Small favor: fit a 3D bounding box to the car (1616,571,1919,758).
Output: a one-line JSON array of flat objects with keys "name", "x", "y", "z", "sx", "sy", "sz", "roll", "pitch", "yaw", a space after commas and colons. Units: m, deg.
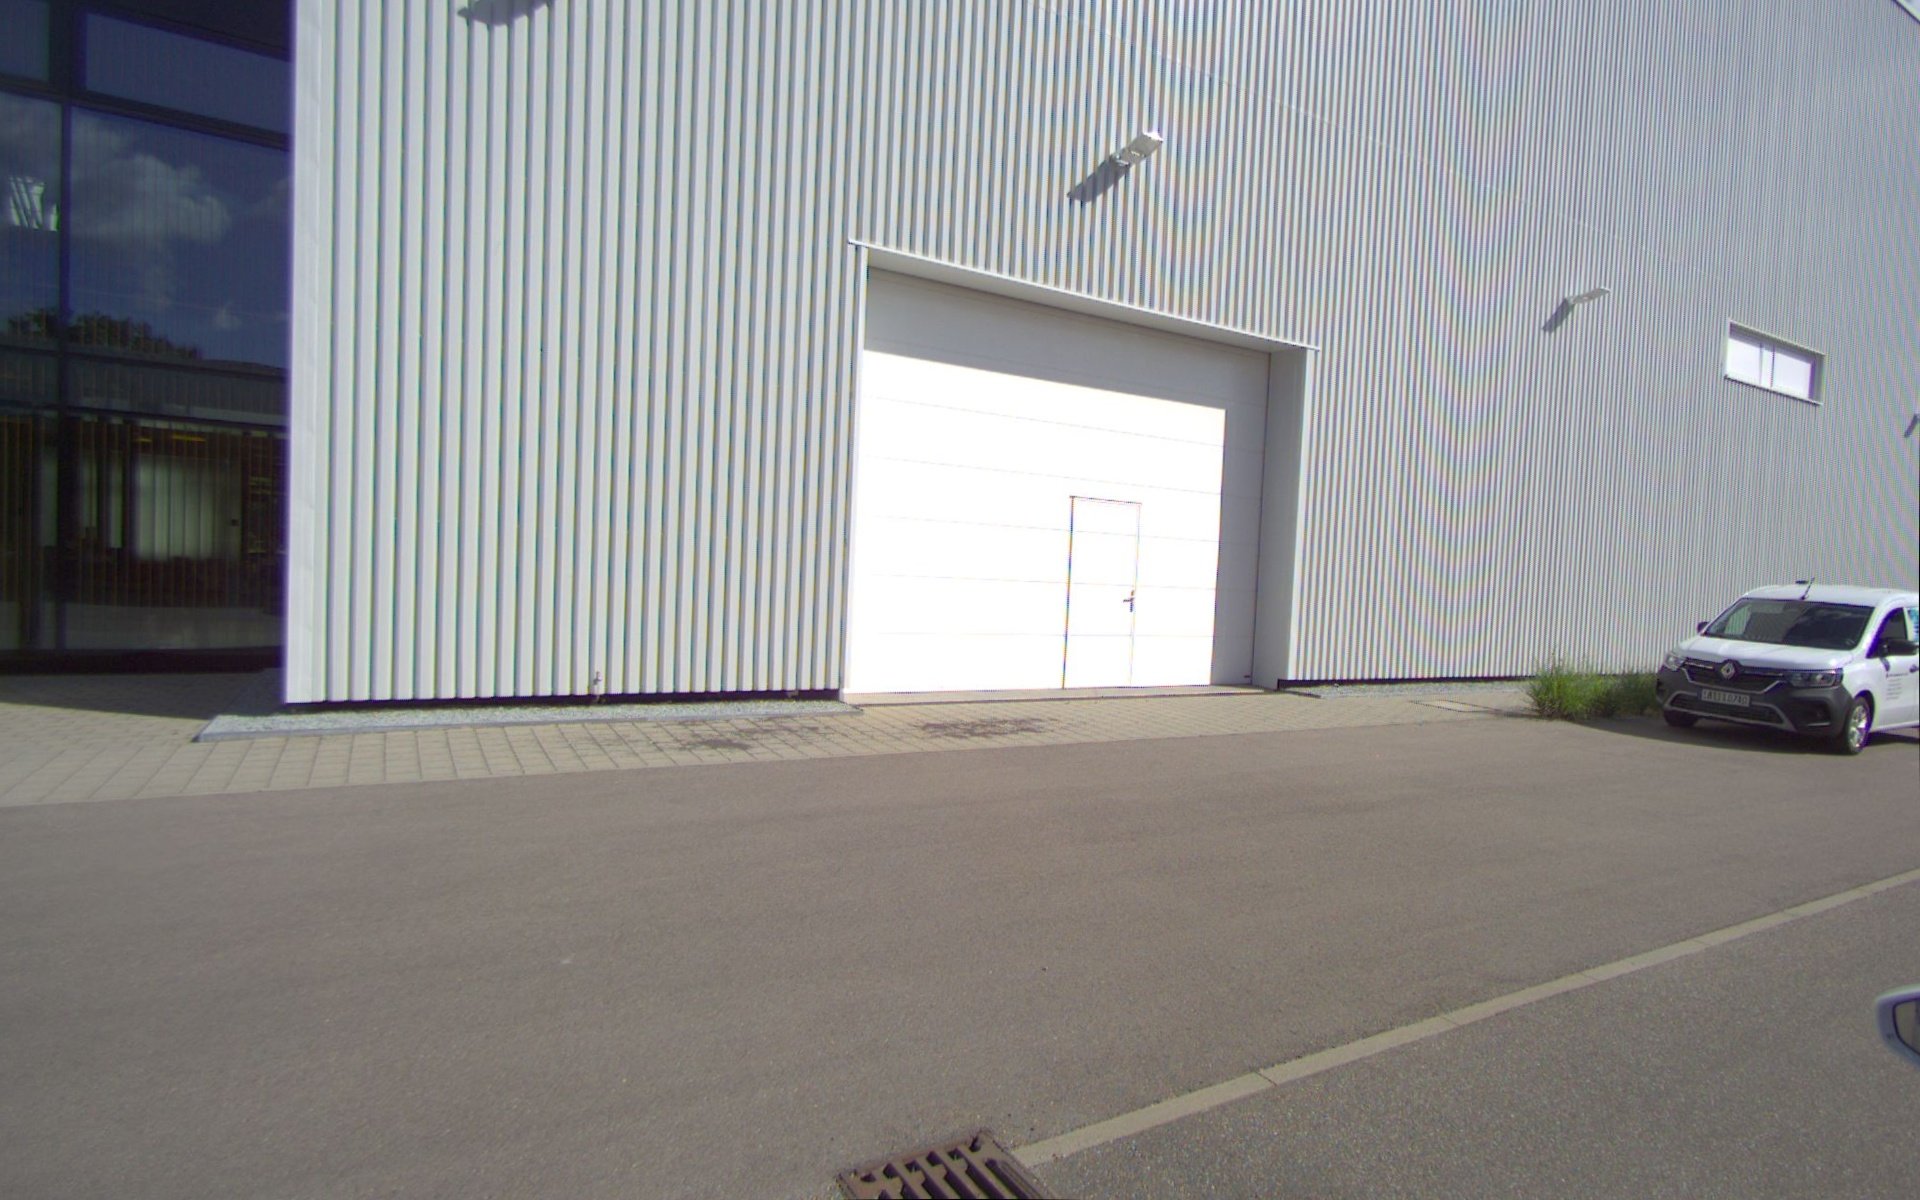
[{"name": "car", "x": 10.202, "y": 0.687, "z": 12.143, "sx": 4.544, "sy": 1.814, "sz": 1.918, "roll": 2, "pitch": 3, "yaw": -31}]
